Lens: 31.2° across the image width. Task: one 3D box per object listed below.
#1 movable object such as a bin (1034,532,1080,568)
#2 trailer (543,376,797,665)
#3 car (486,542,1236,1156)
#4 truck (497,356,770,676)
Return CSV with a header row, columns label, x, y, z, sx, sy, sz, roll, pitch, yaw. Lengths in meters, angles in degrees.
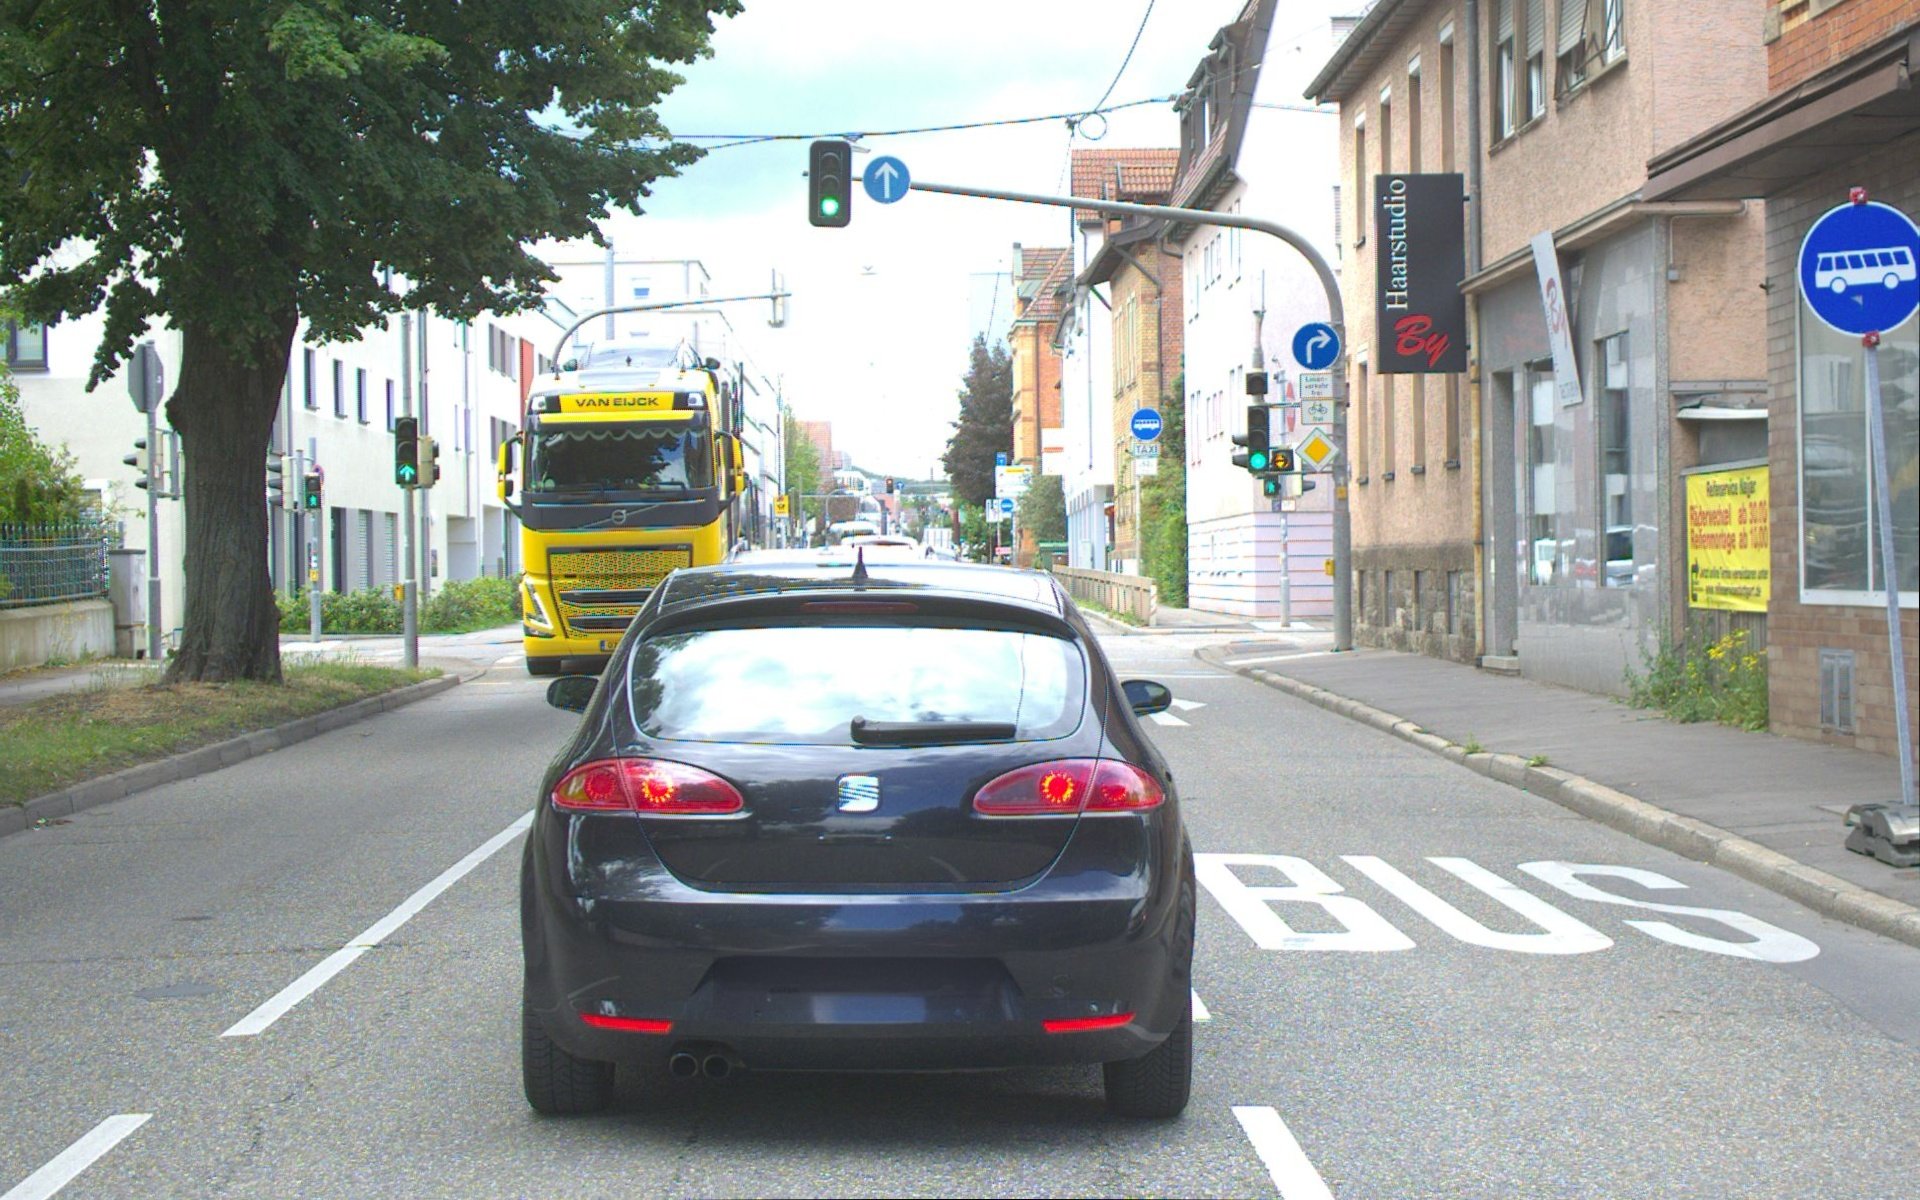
label,x,y,z,sx,sy,sz,roll,pitch,yaw
movable object such as a bin,3.972,-2.048,140.809,1.818,1.432,1.993,0,1,0
trailer,-4.168,-1.120,52.538,2.858,3.795,14.392,0,1,-1
car,-0.268,0.568,10.108,1.759,1.437,4.000,0,1,-1
truck,-4.076,-1.035,44.521,2.843,3.769,7.670,0,1,0
